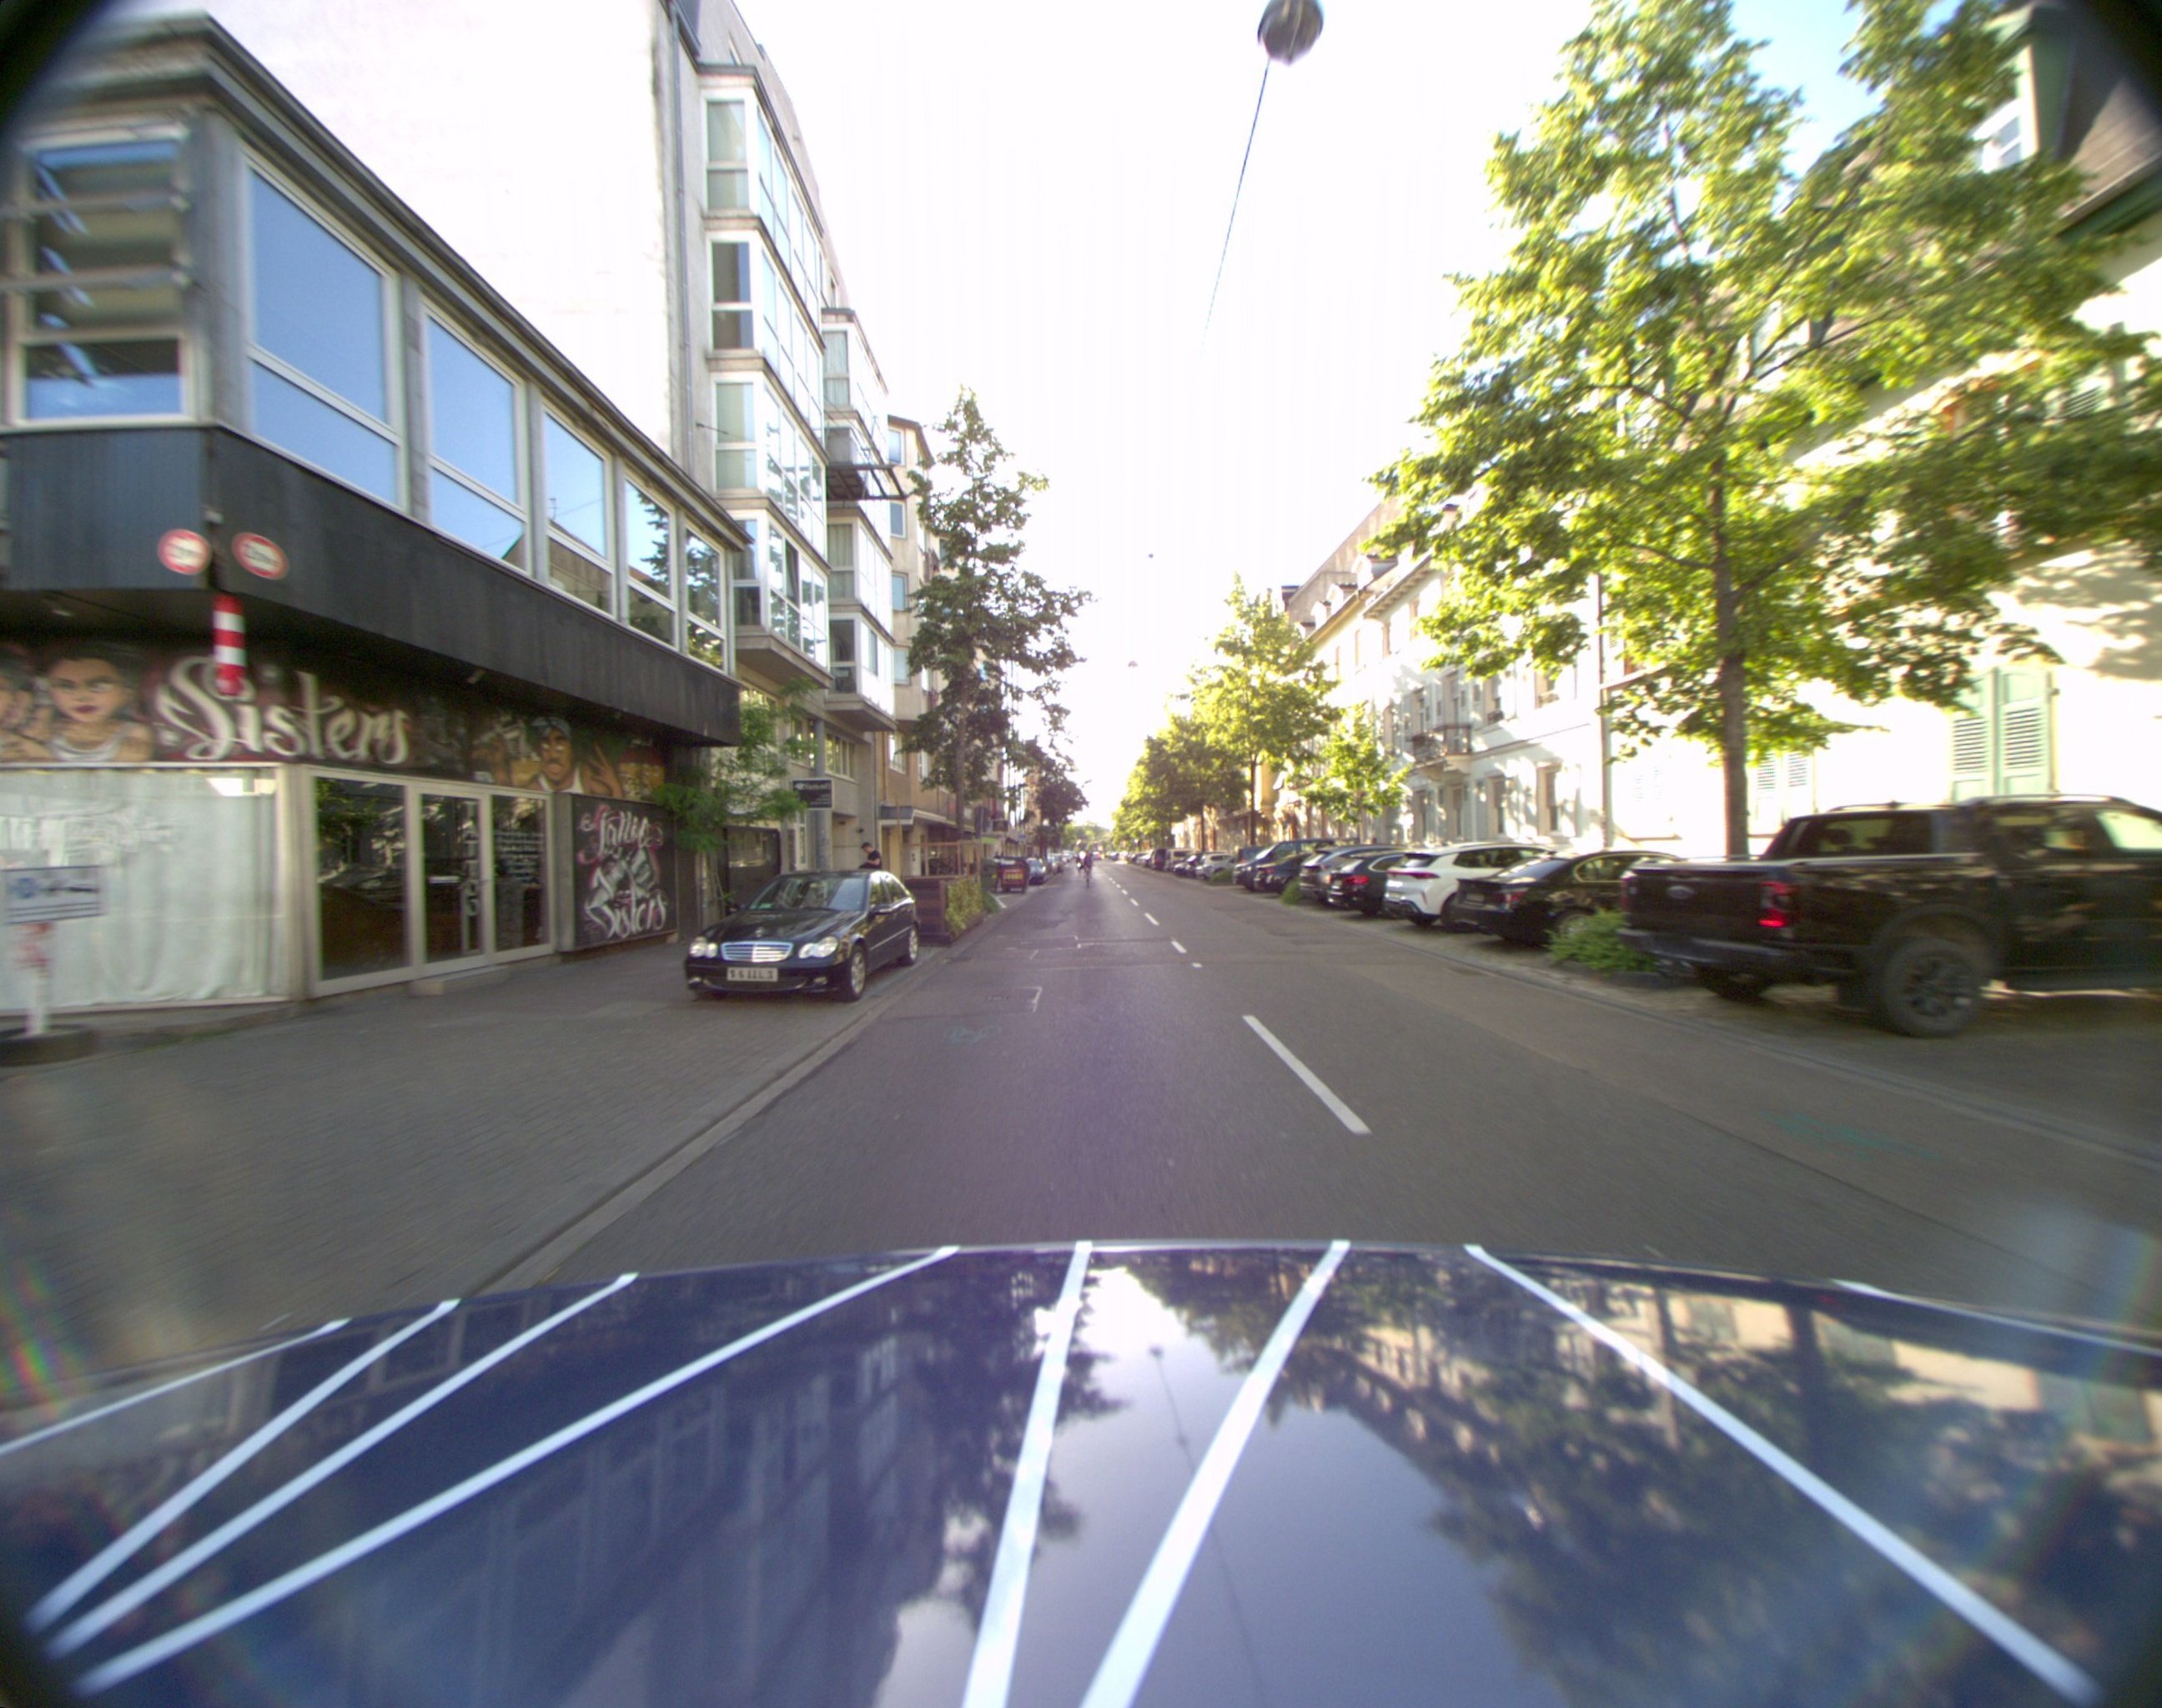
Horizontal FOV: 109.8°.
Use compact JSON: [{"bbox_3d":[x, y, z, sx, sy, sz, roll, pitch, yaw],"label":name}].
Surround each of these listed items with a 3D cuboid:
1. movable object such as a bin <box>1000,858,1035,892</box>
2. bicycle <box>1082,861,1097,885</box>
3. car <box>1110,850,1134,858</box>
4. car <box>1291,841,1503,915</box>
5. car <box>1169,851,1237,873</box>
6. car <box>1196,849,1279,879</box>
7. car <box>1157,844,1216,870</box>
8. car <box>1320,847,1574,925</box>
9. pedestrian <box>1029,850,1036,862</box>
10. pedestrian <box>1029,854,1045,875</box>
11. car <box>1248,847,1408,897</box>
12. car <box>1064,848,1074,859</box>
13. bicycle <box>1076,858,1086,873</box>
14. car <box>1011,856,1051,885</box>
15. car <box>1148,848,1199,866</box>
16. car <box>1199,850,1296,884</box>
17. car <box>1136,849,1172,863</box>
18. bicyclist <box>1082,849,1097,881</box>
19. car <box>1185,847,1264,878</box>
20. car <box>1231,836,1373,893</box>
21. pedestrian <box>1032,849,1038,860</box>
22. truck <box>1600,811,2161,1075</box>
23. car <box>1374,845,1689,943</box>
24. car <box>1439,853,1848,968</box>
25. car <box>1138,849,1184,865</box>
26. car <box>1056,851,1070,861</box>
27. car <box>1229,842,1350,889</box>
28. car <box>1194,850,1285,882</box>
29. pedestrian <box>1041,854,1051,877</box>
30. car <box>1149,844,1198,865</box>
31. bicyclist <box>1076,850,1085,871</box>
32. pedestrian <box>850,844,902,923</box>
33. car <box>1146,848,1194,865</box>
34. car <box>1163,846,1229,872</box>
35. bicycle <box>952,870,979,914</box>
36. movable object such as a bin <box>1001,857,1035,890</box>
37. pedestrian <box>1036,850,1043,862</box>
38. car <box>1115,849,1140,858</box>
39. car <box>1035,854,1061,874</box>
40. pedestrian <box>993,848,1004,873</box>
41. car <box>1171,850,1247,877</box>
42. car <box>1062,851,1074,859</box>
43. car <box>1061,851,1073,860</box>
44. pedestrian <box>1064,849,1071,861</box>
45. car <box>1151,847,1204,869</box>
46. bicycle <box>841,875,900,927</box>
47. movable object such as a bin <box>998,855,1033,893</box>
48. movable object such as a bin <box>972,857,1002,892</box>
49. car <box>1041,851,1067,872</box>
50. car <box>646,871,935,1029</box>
[{"bbox_3d":[-2.787,0.903,33.339,1.402,1.445,1.146,-1,1,1],"label":"movable object such as a bin"},{"bbox_3d":[0.433,0.944,37.754,0.718,1.105,2.269,-1,1,1],"label":"bicycle"},{"bbox_3d":[7.395,-0.032,137.006,4.006,1.433,1.995,-2,1,-31],"label":"car"},{"bbox_3d":[7.998,0.579,19.547,4.691,1.702,1.808,-2,1,2],"label":"car"},{"bbox_3d":[8.486,0.545,52.989,4.351,1.430,1.916,-2,1,-1],"label":"car"},{"bbox_3d":[8.848,0.550,43.201,4.350,1.573,1.809,-2,1,0],"label":"car"},{"bbox_3d":[8.436,0.236,61.063,4.584,1.915,1.930,-2,1,3],"label":"car"},{"bbox_3d":[7.902,0.668,16.747,4.691,1.510,1.808,-2,1,2],"label":"car"},{"bbox_3d":[-7.147,0.265,111.577,0.618,1.683,0.717,-1,2,28],"label":"pedestrian"},{"bbox_3d":[-3.235,0.785,56.079,1.058,1.527,0.892,-1,1,5],"label":"pedestrian"},{"bbox_3d":[7.993,0.573,24.813,4.657,1.451,1.683,-2,1,0],"label":"car"},{"bbox_3d":[-2.340,-0.139,147.838,1.999,1.942,5.100,1,1,-1],"label":"car"},{"bbox_3d":[-0.006,0.886,58.374,0.666,1.061,1.836,-2,1,1],"label":"bicycle"},{"bbox_3d":[-2.763,0.888,43.063,1.826,1.463,4.911,1,0,1],"label":"car"},{"bbox_3d":[8.676,0.287,71.389,4.354,1.535,1.915,-2,1,-10],"label":"car"},{"bbox_3d":[8.289,0.618,38.072,4.476,1.532,1.917,-2,1,4],"label":"car"},{"bbox_3d":[9.213,0.241,95.959,4.349,1.535,1.944,-2,1,3],"label":"car"},{"bbox_3d":[0.427,0.547,37.369,0.718,1.553,0.864,-1,1,1],"label":"bicyclist"},{"bbox_3d":[8.480,0.473,45.223,4.350,1.699,1.916,-2,1,0],"label":"car"},{"bbox_3d":[8.125,0.375,28.272,4.691,1.939,1.916,-2,1,2],"label":"car"},{"bbox_3d":[-6.809,0.095,112.607,0.498,1.683,0.717,-1,2,28],"label":"pedestrian"},{"bbox_3d":[7.732,0.645,6.601,5.097,1.927,2.000,0,1,0],"label":"truck"},{"bbox_3d":[8.091,0.683,13.989,4.691,1.563,1.808,-2,1,2],"label":"car"},{"bbox_3d":[8.135,0.776,11.343,4.691,1.454,1.808,-2,1,2],"label":"car"},{"bbox_3d":[8.711,0.333,83.217,4.713,1.484,1.999,-3,2,-4],"label":"car"},{"bbox_3d":[-2.802,0.286,117.337,1.978,1.565,4.126,1,1,1],"label":"car"},{"bbox_3d":[8.562,0.453,31.486,4.477,1.762,1.916,-2,1,2],"label":"car"},{"bbox_3d":[8.432,0.605,40.696,4.477,1.532,1.916,-2,1,0],"label":"car"},{"bbox_3d":[-2.397,0.787,51.809,0.652,1.527,0.980,-1,1,-1],"label":"pedestrian"},{"bbox_3d":[8.986,0.050,73.850,4.354,1.814,1.928,-2,1,-10],"label":"car"},{"bbox_3d":[-0.015,0.476,58.353,0.658,1.562,0.909,-2,1,1],"label":"bicyclist"},{"bbox_3d":[-5.111,0.725,18.953,0.925,1.924,0.762,-1,1,26],"label":"pedestrian"},{"bbox_3d":[8.885,0.262,76.220,4.354,1.535,1.962,-2,1,-11],"label":"car"},{"bbox_3d":[8.439,0.352,55.931,4.354,1.823,1.915,-2,1,-9],"label":"car"},{"bbox_3d":[-3.340,1.082,21.976,0.609,1.114,2.054,6,-1,-8],"label":"bicycle"},{"bbox_3d":[-2.844,0.888,34.503,1.402,1.445,1.146,-1,1,1],"label":"movable object such as a bin"},{"bbox_3d":[-6.067,0.321,110.816,0.617,1.682,0.676,2,3,44],"label":"pedestrian"},{"bbox_3d":[8.283,-0.093,134.782,4.006,1.553,1.995,-2,1,-31],"label":"car"},{"bbox_3d":[-2.672,0.792,62.487,1.826,1.587,4.841,1,0,1],"label":"car"},{"bbox_3d":[-5.660,0.460,52.207,0.629,1.686,0.504,0,1,11],"label":"pedestrian"},{"bbox_3d":[8.004,0.556,47.783,4.476,1.532,1.917,-2,1,3],"label":"car"},{"bbox_3d":[-2.323,0.211,138.481,1.998,1.483,4.000,1,1,1],"label":"car"},{"bbox_3d":[-2.458,0.224,134.346,1.998,1.565,4.000,1,1,1],"label":"car"},{"bbox_3d":[-2.046,0.142,113.120,0.693,1.709,0.896,2,1,25],"label":"pedestrian"},{"bbox_3d":[8.395,0.321,66.214,4.351,1.723,1.916,-2,1,-1],"label":"car"},{"bbox_3d":[-5.058,1.104,18.204,0.683,1.142,1.680,-1,1,-41],"label":"bicycle"},{"bbox_3d":[-2.752,0.834,32.174,1.334,1.533,1.146,-1,1,1],"label":"movable object such as a bin"},{"bbox_3d":[-3.961,0.844,32.080,1.080,1.423,1.295,-1,1,1],"label":"movable object such as a bin"},{"bbox_3d":[-2.412,0.651,68.846,1.826,1.767,4.932,1,0,4],"label":"car"},{"bbox_3d":[-3.299,0.999,9.777,1.905,1.404,4.646,1,0,0],"label":"car"}]
